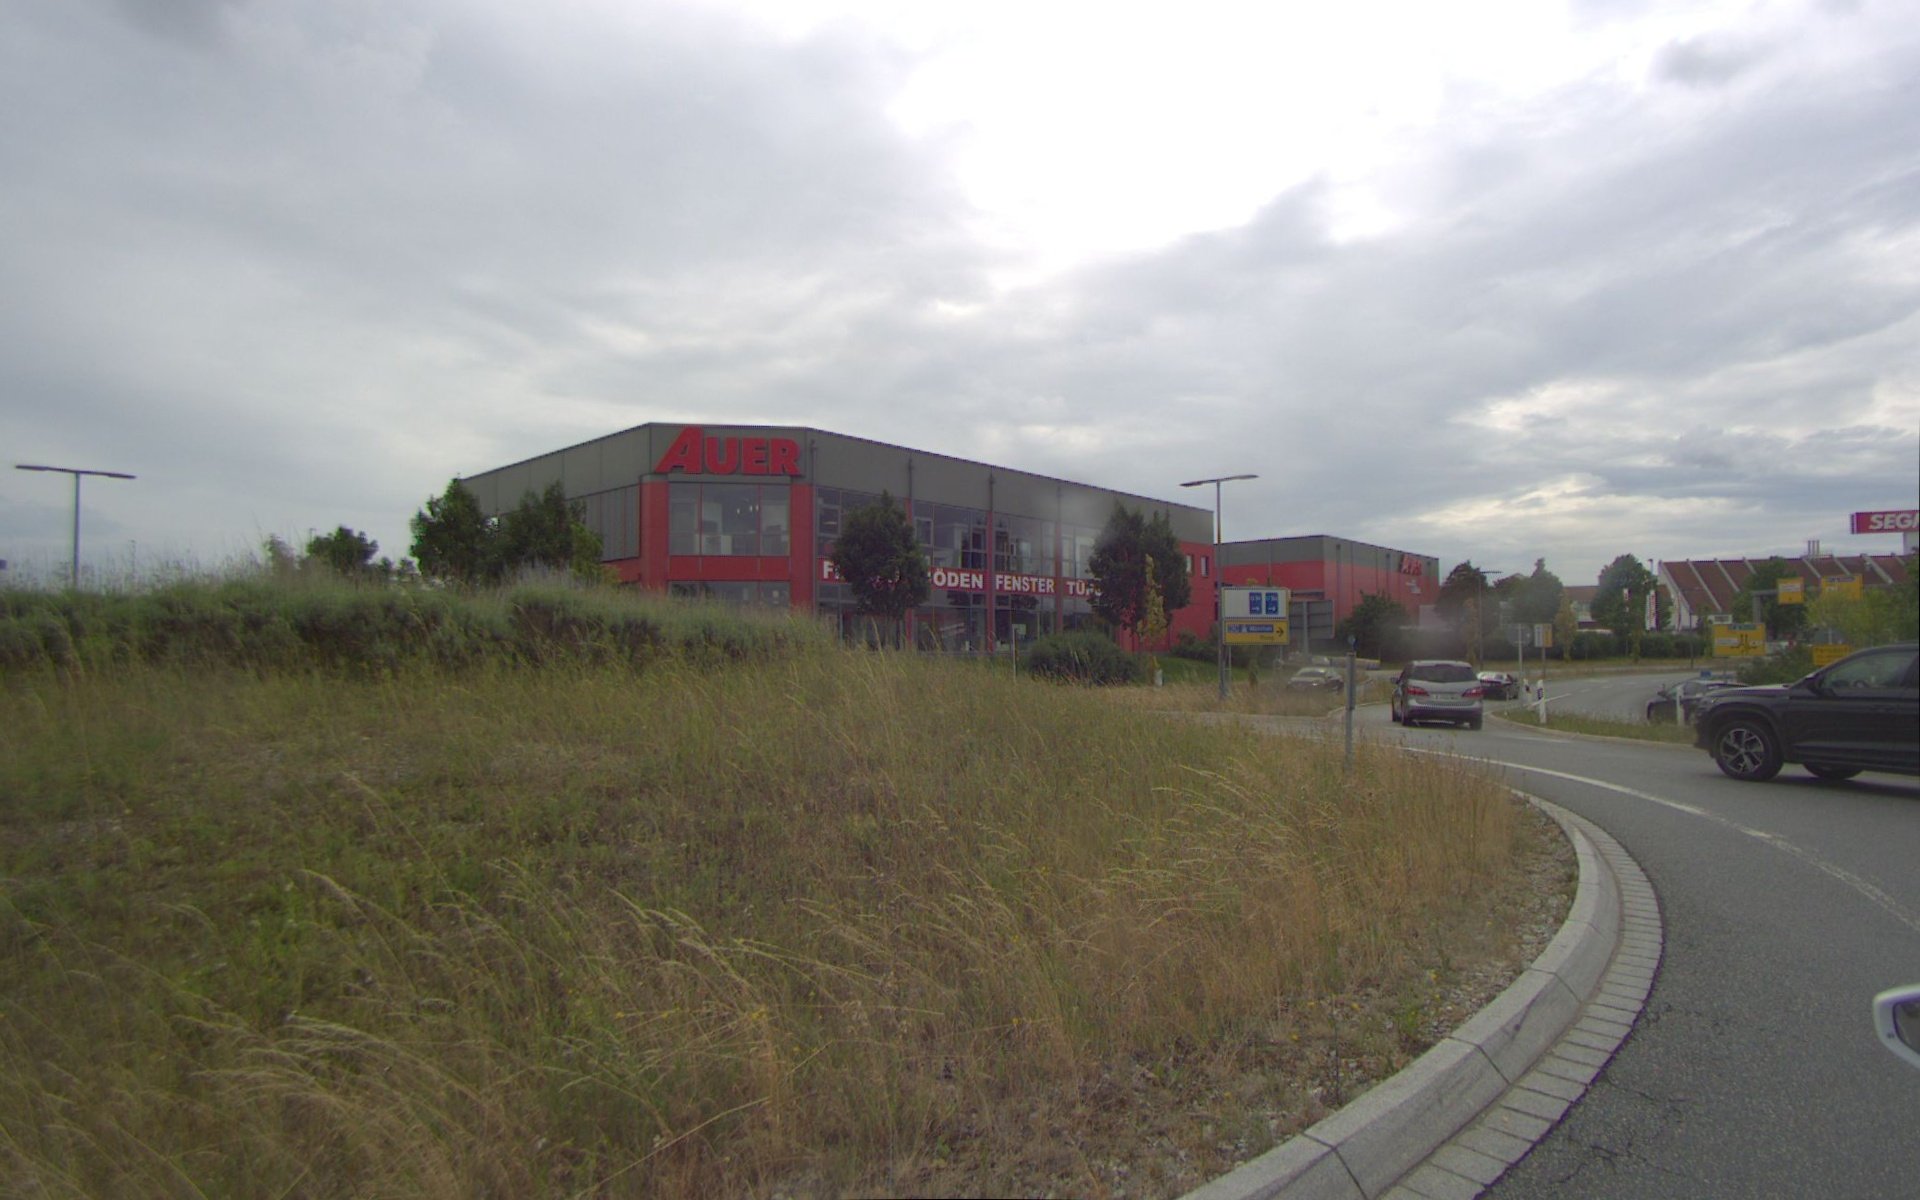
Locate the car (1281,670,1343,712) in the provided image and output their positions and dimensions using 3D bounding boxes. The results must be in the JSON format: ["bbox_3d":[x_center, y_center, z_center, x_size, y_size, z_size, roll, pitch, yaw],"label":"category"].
[{"bbox_3d":[17.025,4.338,48.504,1.655,1.795,3.939,-2,-2,38],"label":"car"}]

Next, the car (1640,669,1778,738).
[{"bbox_3d":[21.398,2.929,28.887,1.838,1.626,3.737,-3,-2,14],"label":"car"}]

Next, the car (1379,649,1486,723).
[{"bbox_3d":[11.660,2.069,25.009,1.737,1.638,3.924,-1,-2,15],"label":"car"}]

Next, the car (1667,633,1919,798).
[{"bbox_3d":[10.592,1.202,10.893,1.789,1.692,4.597,0,-2,-19],"label":"car"}]

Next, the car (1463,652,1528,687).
[{"bbox_3d":[26.846,3.440,50.300,1.886,1.639,3.977,-2,-3,43],"label":"car"}]
